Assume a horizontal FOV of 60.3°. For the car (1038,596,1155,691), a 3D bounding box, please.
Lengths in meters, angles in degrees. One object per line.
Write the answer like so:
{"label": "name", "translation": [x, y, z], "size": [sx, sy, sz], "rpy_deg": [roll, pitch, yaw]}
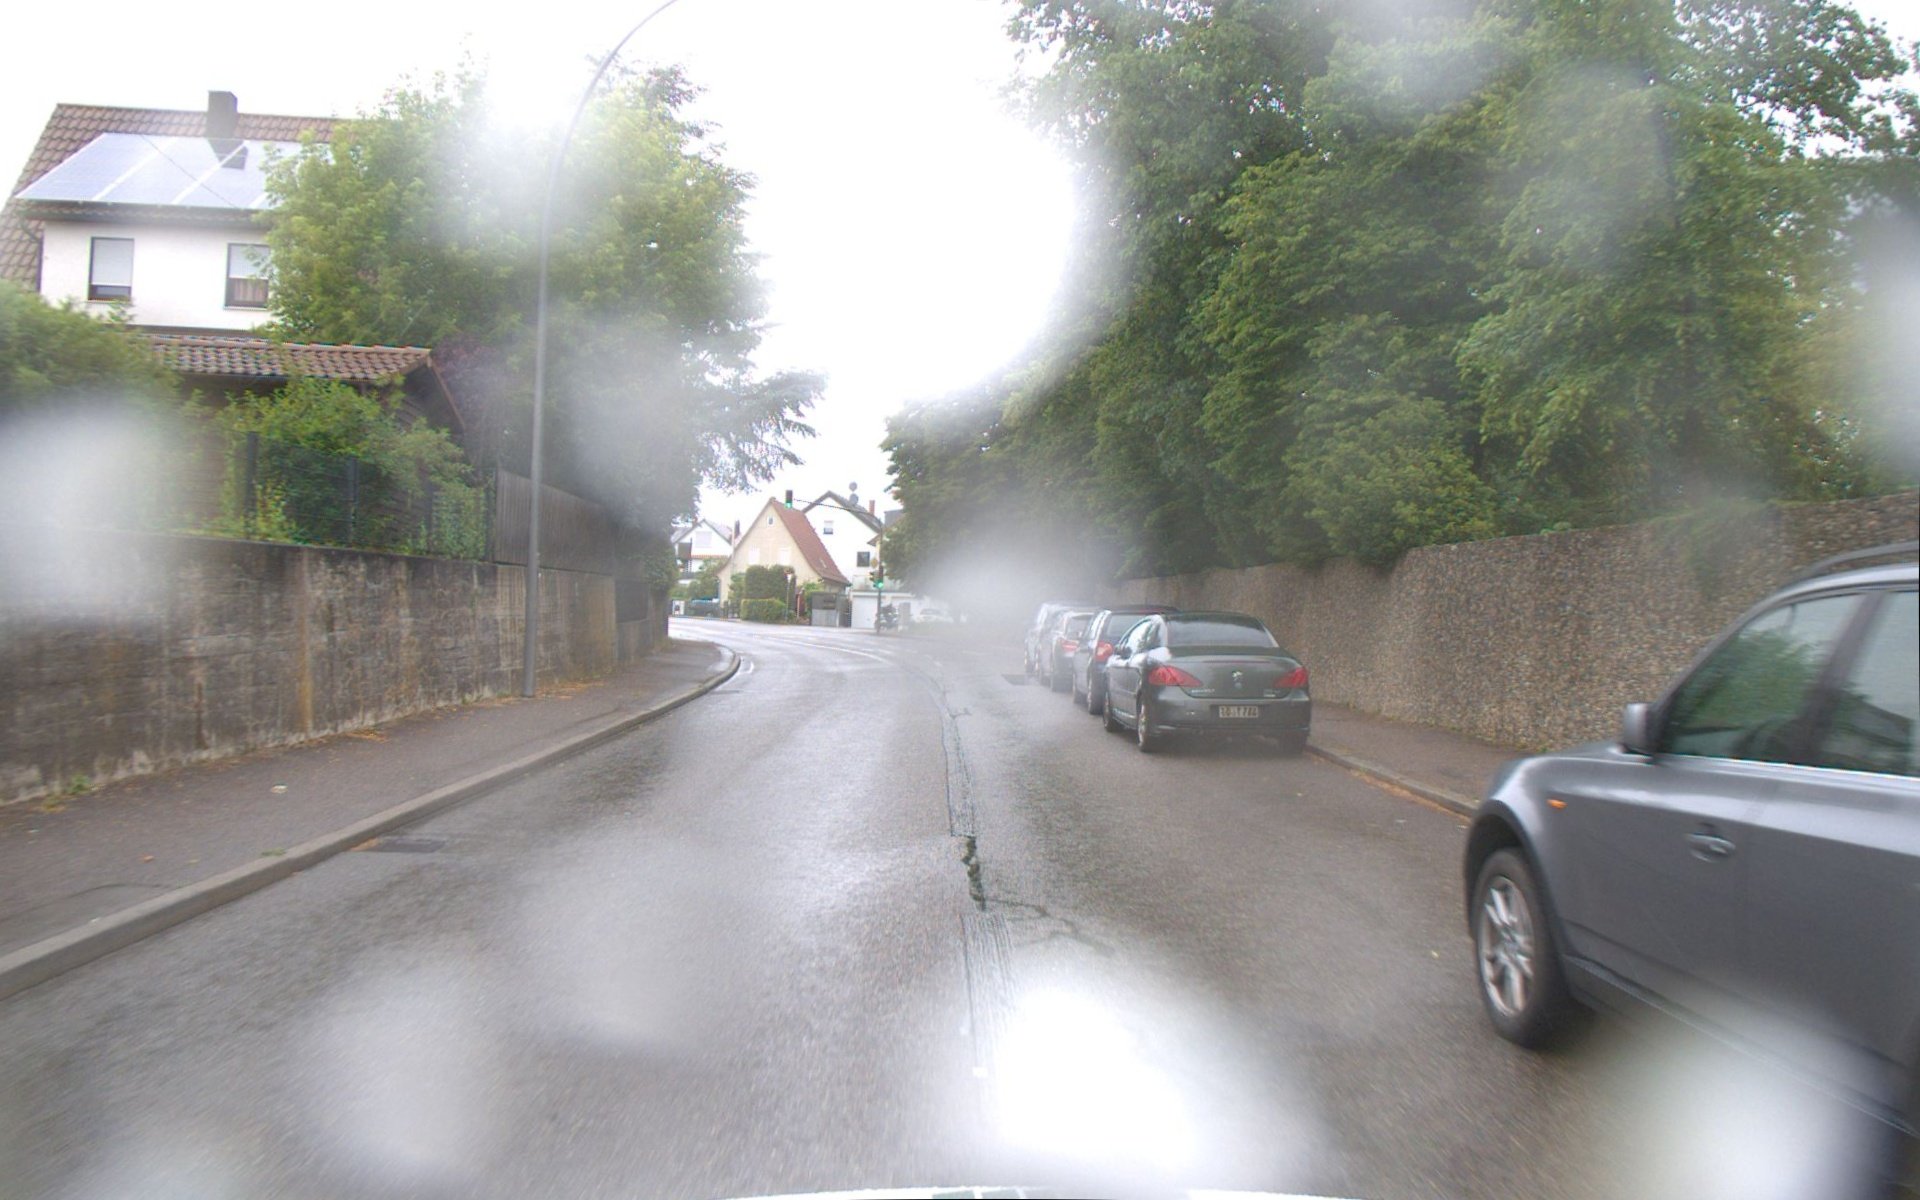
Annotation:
{"label": "car", "translation": [2.347, 0.758, 29.319], "size": [1.614, 1.523, 4.245], "rpy_deg": [2, -1, -1]}

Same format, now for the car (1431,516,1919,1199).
{"label": "car", "translation": [2.838, 0.692, 4.341], "size": [1.707, 1.697, 4.494], "rpy_deg": [1, -1, -3]}

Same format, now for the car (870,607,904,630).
{"label": "car", "translation": [-4.748, 1.210, 108.583], "size": [1.867, 1.467, 4.001], "rpy_deg": [1, 0, 2]}

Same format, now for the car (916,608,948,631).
{"label": "car", "translation": [-1.828, 1.272, 108.216], "size": [1.867, 1.467, 4.001], "rpy_deg": [1, 0, 2]}

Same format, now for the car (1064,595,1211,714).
{"label": "car", "translation": [2.472, 0.766, 23.814], "size": [1.614, 1.523, 3.708], "rpy_deg": [2, -1, -1]}

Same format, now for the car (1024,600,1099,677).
{"label": "car", "translation": [2.112, 0.818, 35.139], "size": [1.276, 1.523, 3.363], "rpy_deg": [2, -1, -1]}

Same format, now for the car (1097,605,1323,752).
{"label": "car", "translation": [2.599, 0.770, 18.127], "size": [1.619, 1.395, 4.178], "rpy_deg": [1, 0, -3]}
